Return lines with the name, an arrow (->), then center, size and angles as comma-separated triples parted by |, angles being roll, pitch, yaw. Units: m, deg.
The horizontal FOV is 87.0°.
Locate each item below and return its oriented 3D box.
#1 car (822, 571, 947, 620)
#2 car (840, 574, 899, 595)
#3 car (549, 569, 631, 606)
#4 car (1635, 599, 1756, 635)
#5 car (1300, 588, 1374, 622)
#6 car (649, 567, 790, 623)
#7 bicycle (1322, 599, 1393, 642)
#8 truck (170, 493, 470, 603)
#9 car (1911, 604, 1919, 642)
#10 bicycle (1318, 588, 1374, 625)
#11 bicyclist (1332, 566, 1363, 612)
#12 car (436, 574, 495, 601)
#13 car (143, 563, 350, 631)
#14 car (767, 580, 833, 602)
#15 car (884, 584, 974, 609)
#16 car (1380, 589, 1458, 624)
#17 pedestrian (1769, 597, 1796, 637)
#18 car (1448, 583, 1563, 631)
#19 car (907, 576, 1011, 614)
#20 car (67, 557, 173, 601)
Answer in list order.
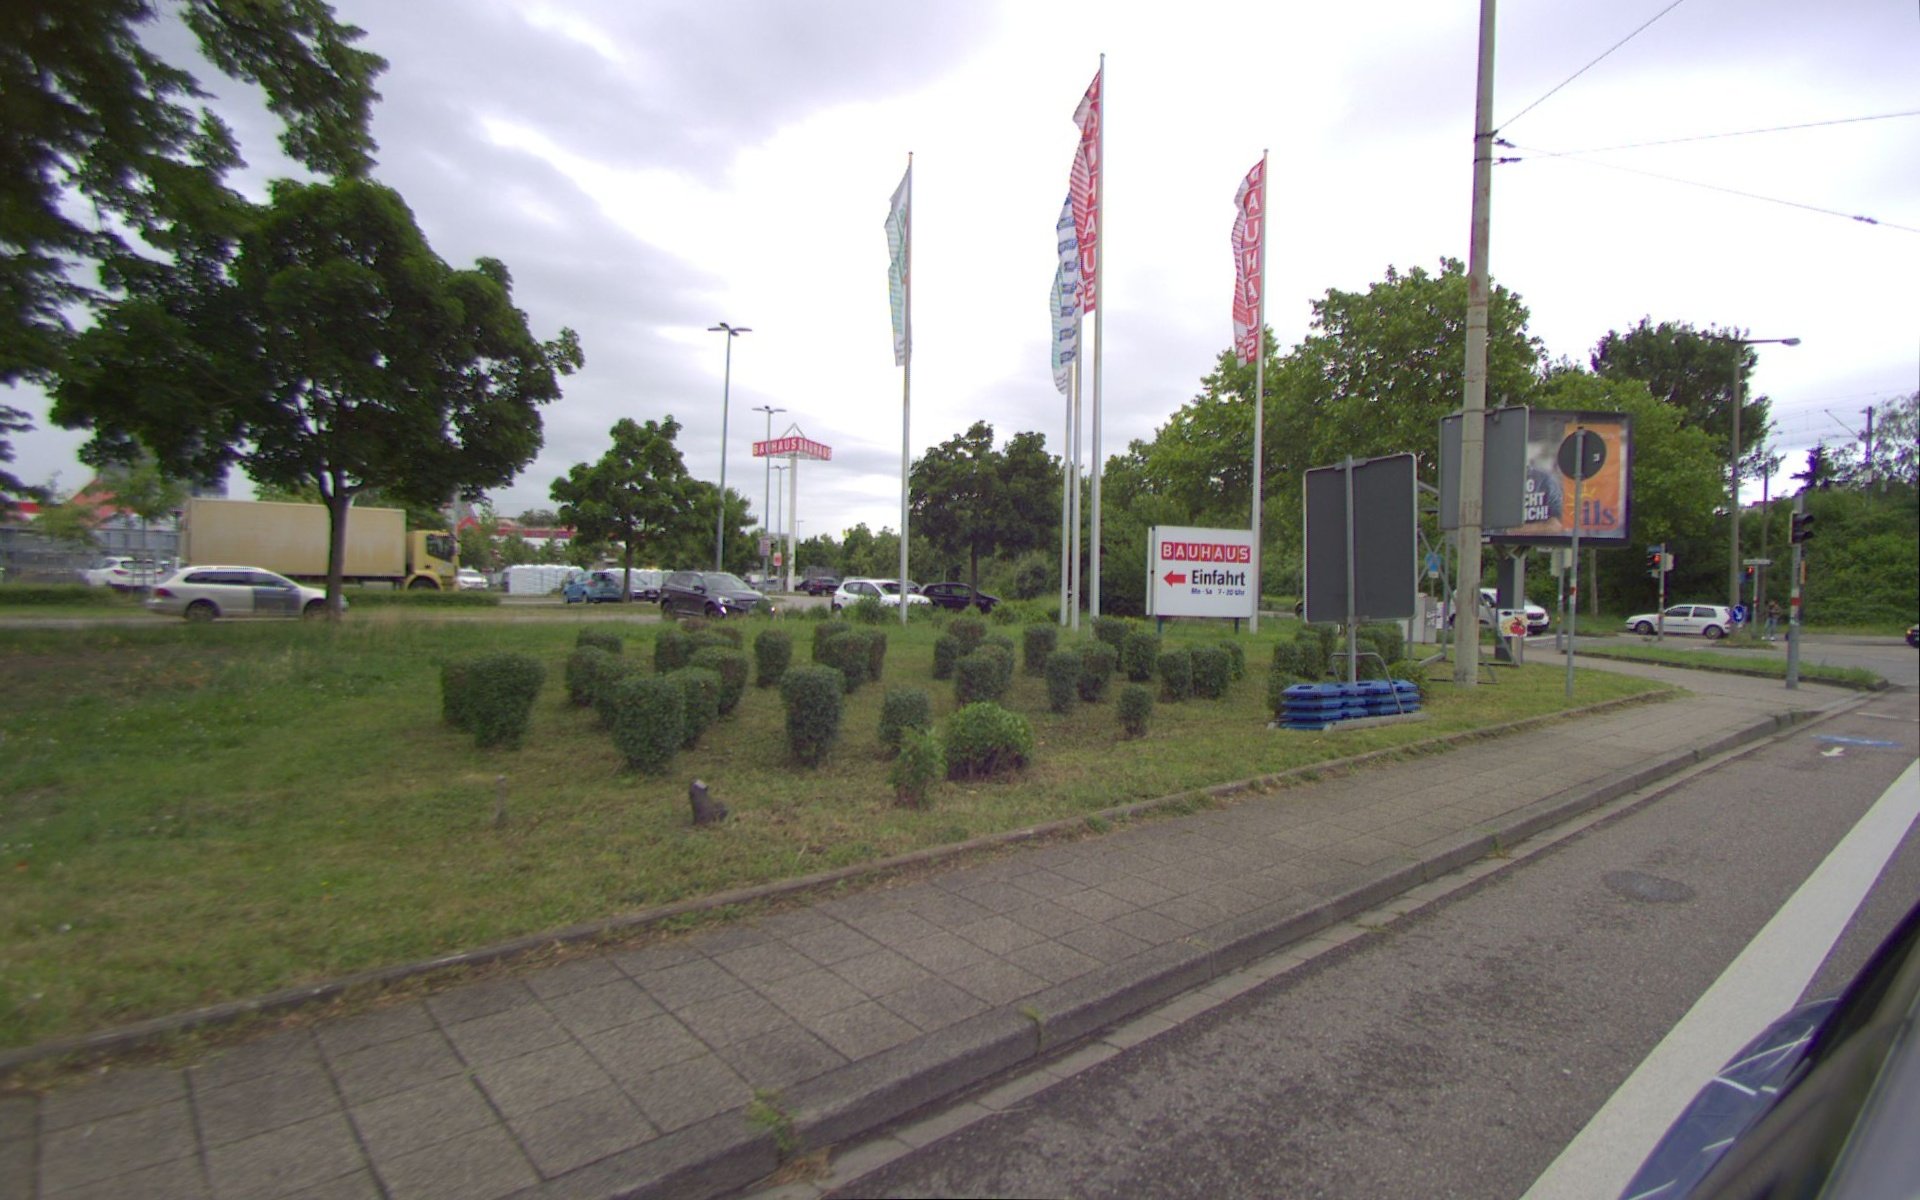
car -> -2.588, -0.141, 33.789 | 1.900, 1.516, 4.223 | 0, 0, -45
car -> -8.712, -1.511, 97.860 | 5.615, 1.917, 2.156 | 1, 1, -1
car -> -16.419, -0.575, 44.783 | 1.952, 1.525, 4.563 | 0, 2, -40
car -> 31.471, 0.701, 43.393 | 1.696, 1.442, 3.936 | 1, 0, -39
car -> 18.312, 0.212, 49.382 | 1.662, 1.500, 4.072 | 1, 1, -7
car -> -7.170, -0.132, 29.884 | 4.599, 1.516, 1.900 | 0, 0, 44
bicycle -> 11.158, 0.564, 28.457 | 1.779, 1.132, 0.487 | 2, 1, 11
truck -> -23.532, -1.748, 37.654 | 9.092, 3.609, 2.943 | 0, 0, -42
car -> 38.601, 0.884, 37.944 | 3.931, 1.442, 1.834 | 1, 0, 7
bicycle -> 13.058, 0.197, 34.277 | 0.570, 1.163, 1.898 | 1, 1, -25
bicyclist -> 13.099, -0.378, 34.181 | 0.570, 1.538, 0.761 | 1, 1, -25
car -> -33.216, -0.868, 67.971 | 4.554, 1.697, 2.121 | 3, 2, 44
car -> -19.200, -0.083, 27.318 | 4.426, 1.691, 1.997 | 0, 0, -40
car -> -14.230, -0.816, 89.815 | 5.676, 1.697, 2.134 | 2, 1, 29
car -> -2.049, -0.250, 66.745 | 5.607, 1.458, 2.160 | 1, 1, -11
car -> 21.662, 0.280, 47.916 | 1.662, 1.551, 3.694 | 1, 1, -7
pedestrian -> 35.448, 0.723, 43.625 | 0.737, 1.661, 0.771 | 1, 0, 26
car -> 22.282, 0.229, 41.529 | 1.842, 1.851, 4.429 | -1, 1, -9
car -> -0.084, -0.196, 42.289 | 4.150, 1.516, 1.828 | 0, 0, -6
car -> -35.032, -0.880, 42.192 | 4.533, 1.697, 2.131 | 2, 1, 32
